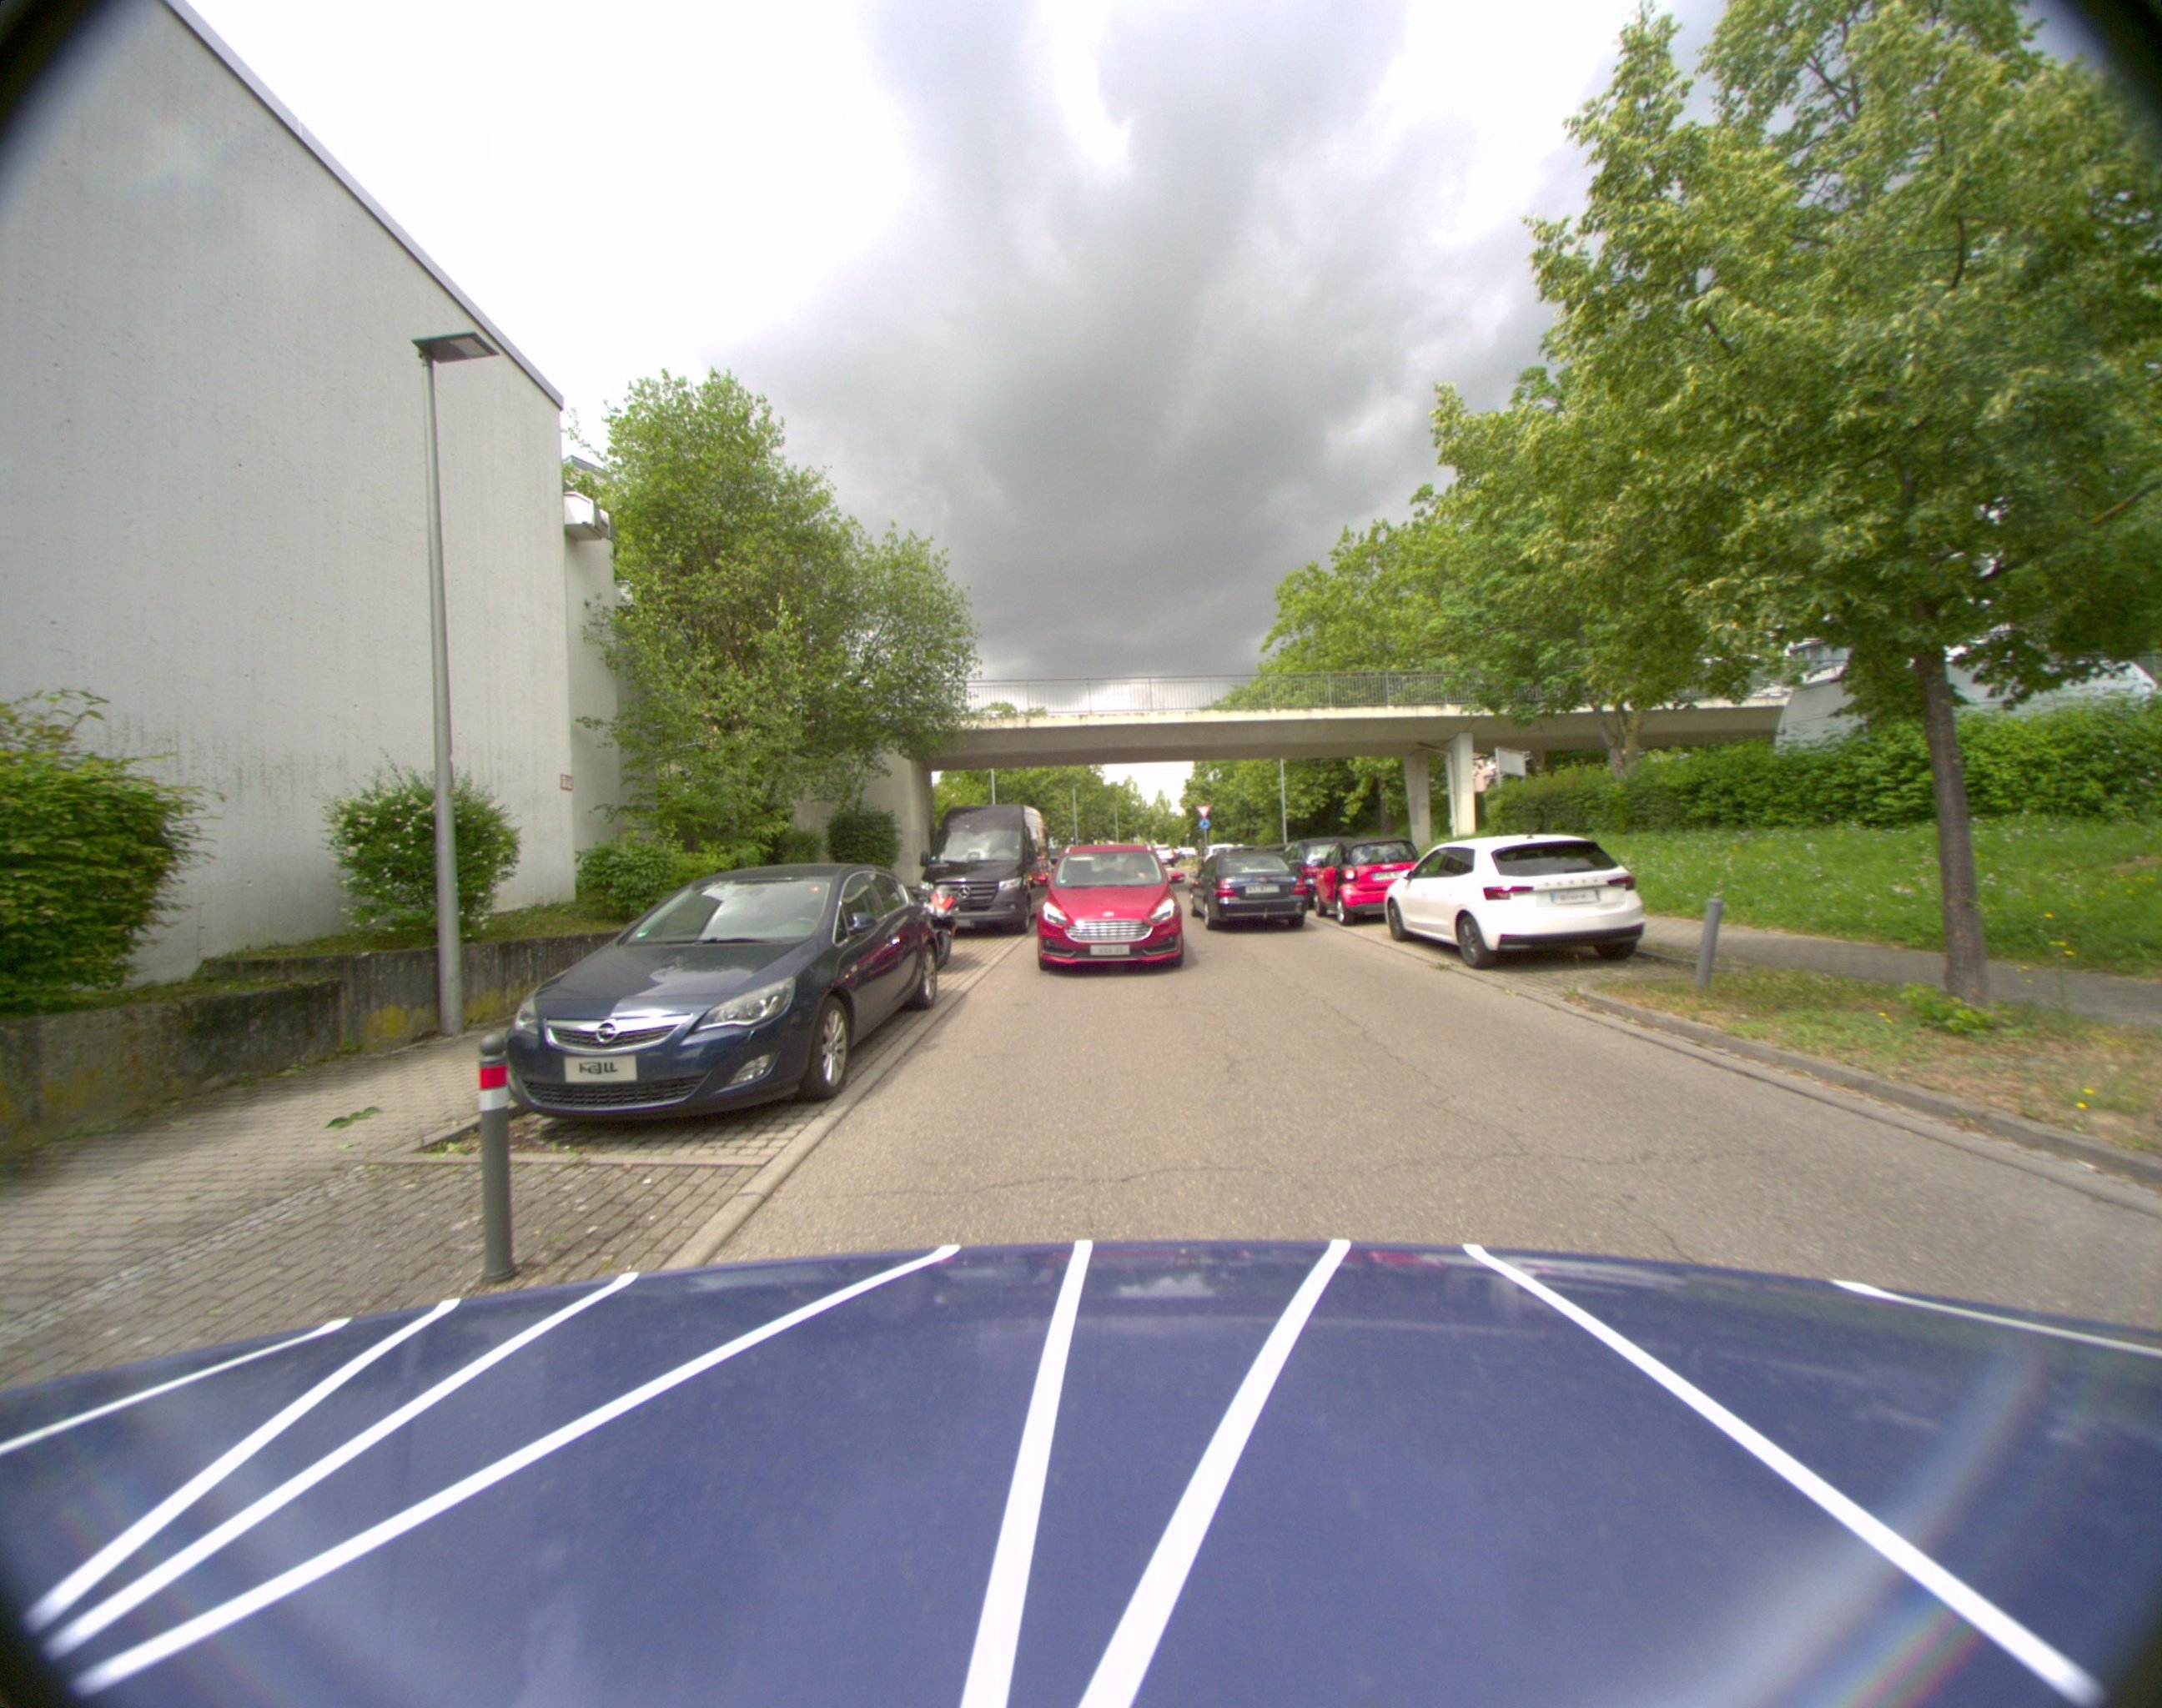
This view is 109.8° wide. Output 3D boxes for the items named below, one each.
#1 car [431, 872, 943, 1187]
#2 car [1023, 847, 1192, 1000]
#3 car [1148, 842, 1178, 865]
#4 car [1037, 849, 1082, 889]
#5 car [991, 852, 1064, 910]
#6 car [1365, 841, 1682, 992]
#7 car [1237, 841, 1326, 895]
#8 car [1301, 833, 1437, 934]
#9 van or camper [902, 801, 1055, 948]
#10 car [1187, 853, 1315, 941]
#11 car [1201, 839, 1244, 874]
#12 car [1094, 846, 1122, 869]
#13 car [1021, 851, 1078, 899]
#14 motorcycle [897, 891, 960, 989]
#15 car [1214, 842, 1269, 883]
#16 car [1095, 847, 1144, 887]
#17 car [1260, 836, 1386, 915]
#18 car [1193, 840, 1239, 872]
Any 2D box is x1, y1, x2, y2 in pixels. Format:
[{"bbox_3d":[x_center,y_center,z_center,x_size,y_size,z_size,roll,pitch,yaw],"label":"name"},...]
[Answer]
[{"bbox_3d":[-2.344,0.937,5.813,1.695,1.412,4.000,-2,1,2],"label":"car"},{"bbox_3d":[0.408,0.762,10.255,1.812,1.600,3.722,-2,1,4],"label":"car"},{"bbox_3d":[6.002,-0.065,56.052,1.812,1.561,3.721,-2,1,1],"label":"car"},{"bbox_3d":[-0.889,0.600,33.313,1.604,1.534,3.722,-2,1,4],"label":"car"},{"bbox_3d":[-1.466,0.724,22.241,1.586,1.441,3.722,-2,1,4],"label":"car"},{"bbox_3d":[5.296,0.614,9.828,1.812,1.397,4.048,-5,1,3],"label":"car"},{"bbox_3d":[6.464,0.383,25.007,1.812,1.472,4.486,-4,1,2],"label":"car"},{"bbox_3d":[5.332,0.483,14.408,1.597,1.576,2.685,-6,1,5],"label":"car"},{"bbox_3d":[-1.881,0.304,16.069,1.998,2.481,5.758,-2,1,4],"label":"van or camper"},{"bbox_3d":[3.189,0.731,15.081,1.756,1.411,4.368,-2,1,3],"label":"car"},{"bbox_3d":[6.764,0.086,36.609,1.812,1.561,3.723,-2,1,7],"label":"car"},{"bbox_3d":[1.996,0.224,55.047,1.779,1.443,4.001,-2,1,5],"label":"car"},{"bbox_3d":[-1.056,0.703,27.074,1.604,1.479,3.722,-2,1,4],"label":"car"},{"bbox_3d":[-2.037,1.103,10.347,0.710,1.061,1.929,-3,1,-9],"label":"motorcycle"},{"bbox_3d":[6.610,0.307,31.595,1.812,1.447,3.862,-5,1,7],"label":"car"},{"bbox_3d":[1.669,0.539,31.727,1.861,1.434,4.002,-3,-1,5],"label":"car"},{"bbox_3d":[5.733,0.451,18.493,1.812,1.576,3.985,-5,1,2],"label":"car"},{"bbox_3d":[7.083,0.079,40.307,1.812,1.561,3.721,-2,1,1],"label":"car"}]
